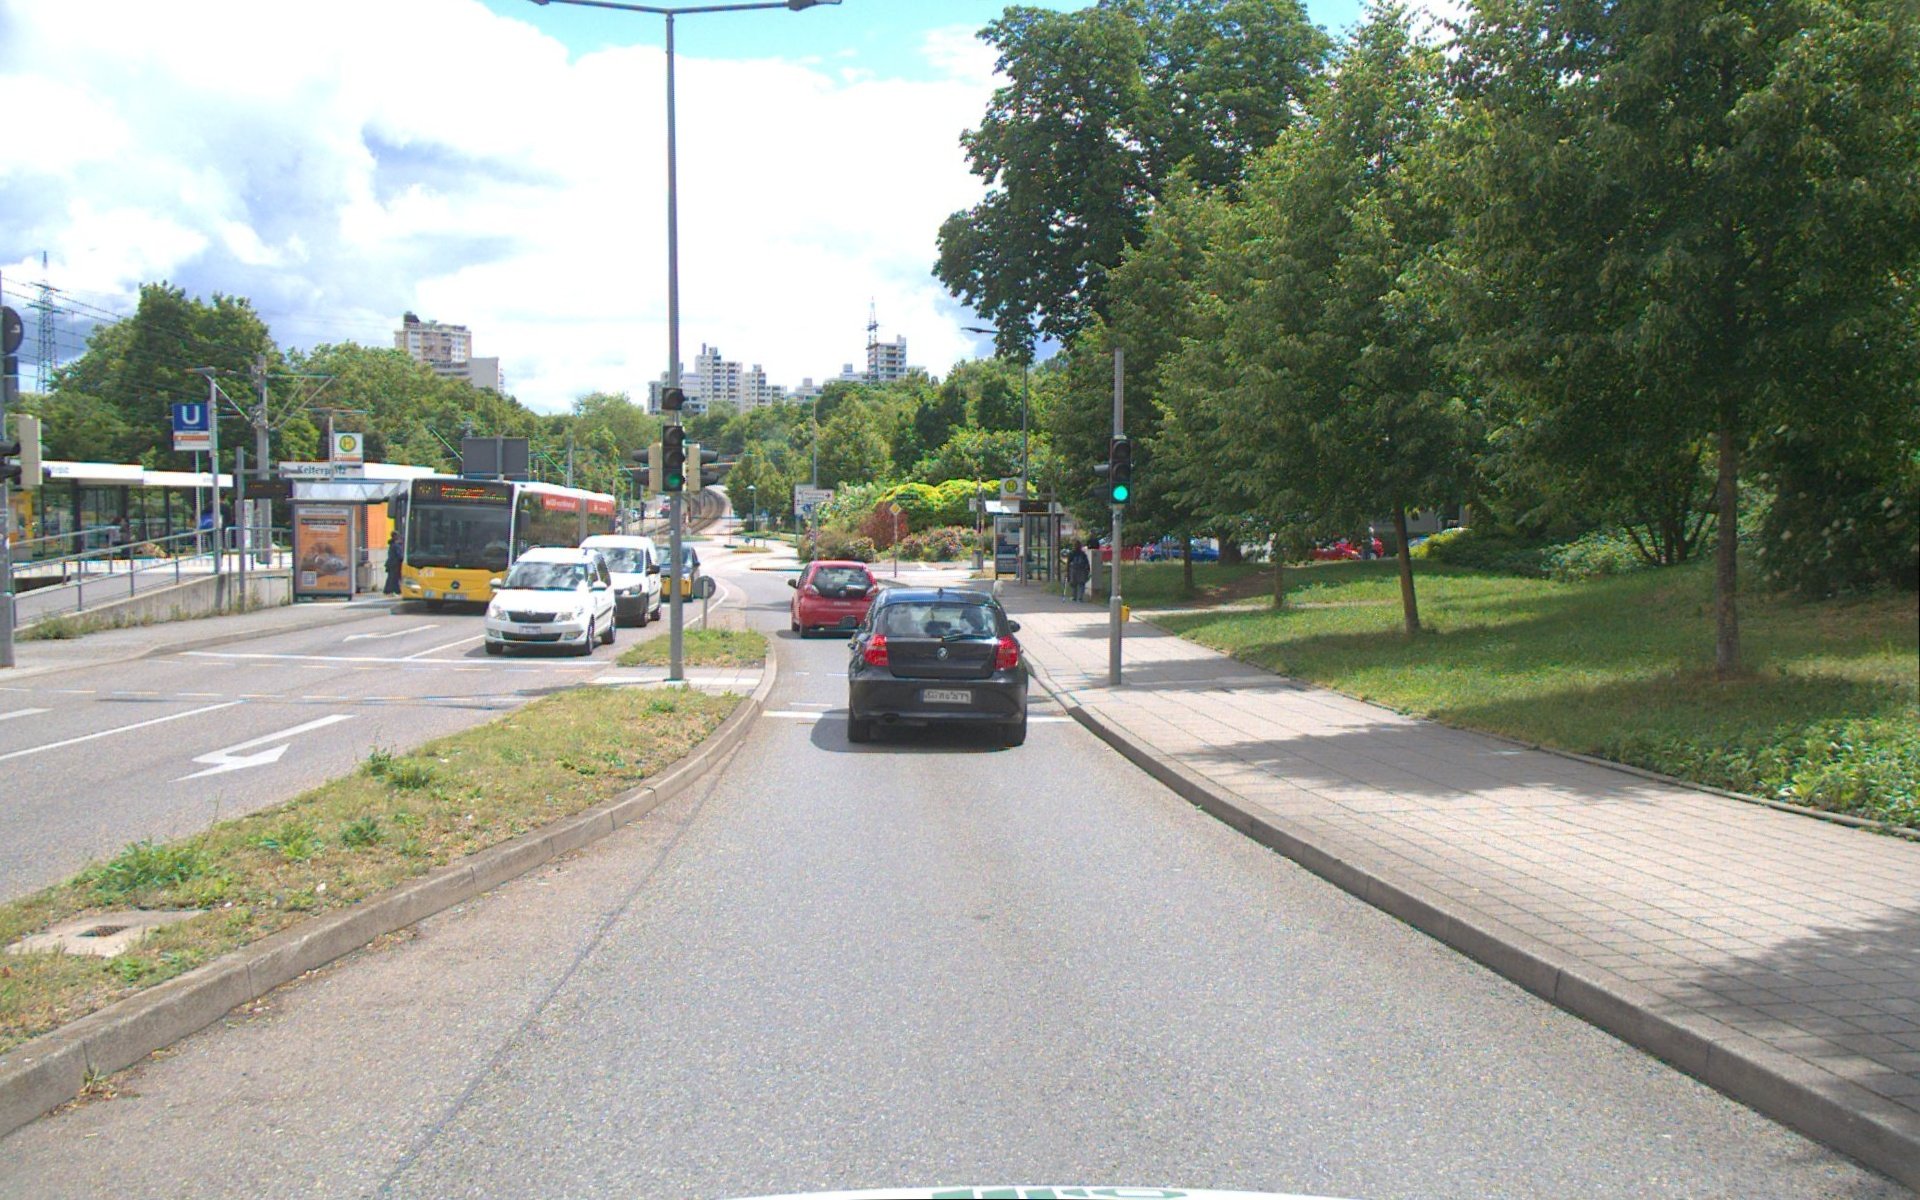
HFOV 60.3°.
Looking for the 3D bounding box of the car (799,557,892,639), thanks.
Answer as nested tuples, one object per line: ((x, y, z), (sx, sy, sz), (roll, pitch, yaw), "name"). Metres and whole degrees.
((-2.238, -0.080, 32.995), (1.730, 1.457, 3.478), (-1, 2, -3), "car")

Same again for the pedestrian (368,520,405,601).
((-14.657, -1.010, 42.276), (0.689, 2.048, 0.826), (-1, 2, -9), "pedestrian")

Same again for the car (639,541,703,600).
((-8.226, -0.874, 47.353), (1.500, 1.578, 3.729), (1, 2, -6), "car")

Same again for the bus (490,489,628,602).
((-11.975, -1.692, 50.200), (2.672, 3.122, 8.957), (0, 2, -5), "bus")

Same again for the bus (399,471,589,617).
((-11.231, -1.385, 40.858), (2.672, 3.163, 9.696), (0, 2, -5), "bus")

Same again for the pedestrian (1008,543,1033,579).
((2.158, -1.402, 59.105), (0.810, 1.280, 0.686), (0, 2, -3), "pedestrian")

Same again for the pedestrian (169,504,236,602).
((-16.192, -1.000, 35.377), (0.951, 2.048, 1.028), (-1, 1, -2), "pedestrian")

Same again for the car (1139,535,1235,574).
((9.702, -1.968, 70.902), (3.722, 1.481, 1.894), (-2, 4, -8), "car")

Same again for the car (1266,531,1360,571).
((15.298, -2.133, 71.770), (3.617, 1.671, 1.827), (0, 4, -8), "car")

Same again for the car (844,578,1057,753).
((-0.218, 0.555, 16.679), (1.780, 1.445, 3.996), (-1, 2, -6), "car")

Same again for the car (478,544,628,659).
((-6.553, -0.040, 27.035), (1.665, 1.677, 4.076), (1, 2, -4), "car")

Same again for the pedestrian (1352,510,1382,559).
((15.091, -2.411, 61.371), (0.965, 1.791, 0.859), (0, 2, 5), "pedestrian")

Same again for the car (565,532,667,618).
((-7.250, -0.483, 35.219), (1.728, 1.692, 4.499), (-1, 0, -7), "car")

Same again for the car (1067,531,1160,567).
((7.374, -2.459, 79.663), (4.081, 1.588, 1.996), (-1, 5, -11), "car")

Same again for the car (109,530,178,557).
((-54.404, -3.777, 110.198), (3.566, 1.734, 2.051), (0, 4, -6), "car")

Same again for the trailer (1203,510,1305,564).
((14.326, -3.088, 80.818), (4.451, 2.529, 2.219), (0, 4, -7), "trailer")

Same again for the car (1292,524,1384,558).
((18.581, -2.928, 81.357), (4.003, 1.528, 1.998), (-2, 4, -7), "car")

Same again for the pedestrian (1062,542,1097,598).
((3.140, -0.797, 43.458), (0.803, 1.449, 0.829), (-1, 1, -5), "pedestrian")
